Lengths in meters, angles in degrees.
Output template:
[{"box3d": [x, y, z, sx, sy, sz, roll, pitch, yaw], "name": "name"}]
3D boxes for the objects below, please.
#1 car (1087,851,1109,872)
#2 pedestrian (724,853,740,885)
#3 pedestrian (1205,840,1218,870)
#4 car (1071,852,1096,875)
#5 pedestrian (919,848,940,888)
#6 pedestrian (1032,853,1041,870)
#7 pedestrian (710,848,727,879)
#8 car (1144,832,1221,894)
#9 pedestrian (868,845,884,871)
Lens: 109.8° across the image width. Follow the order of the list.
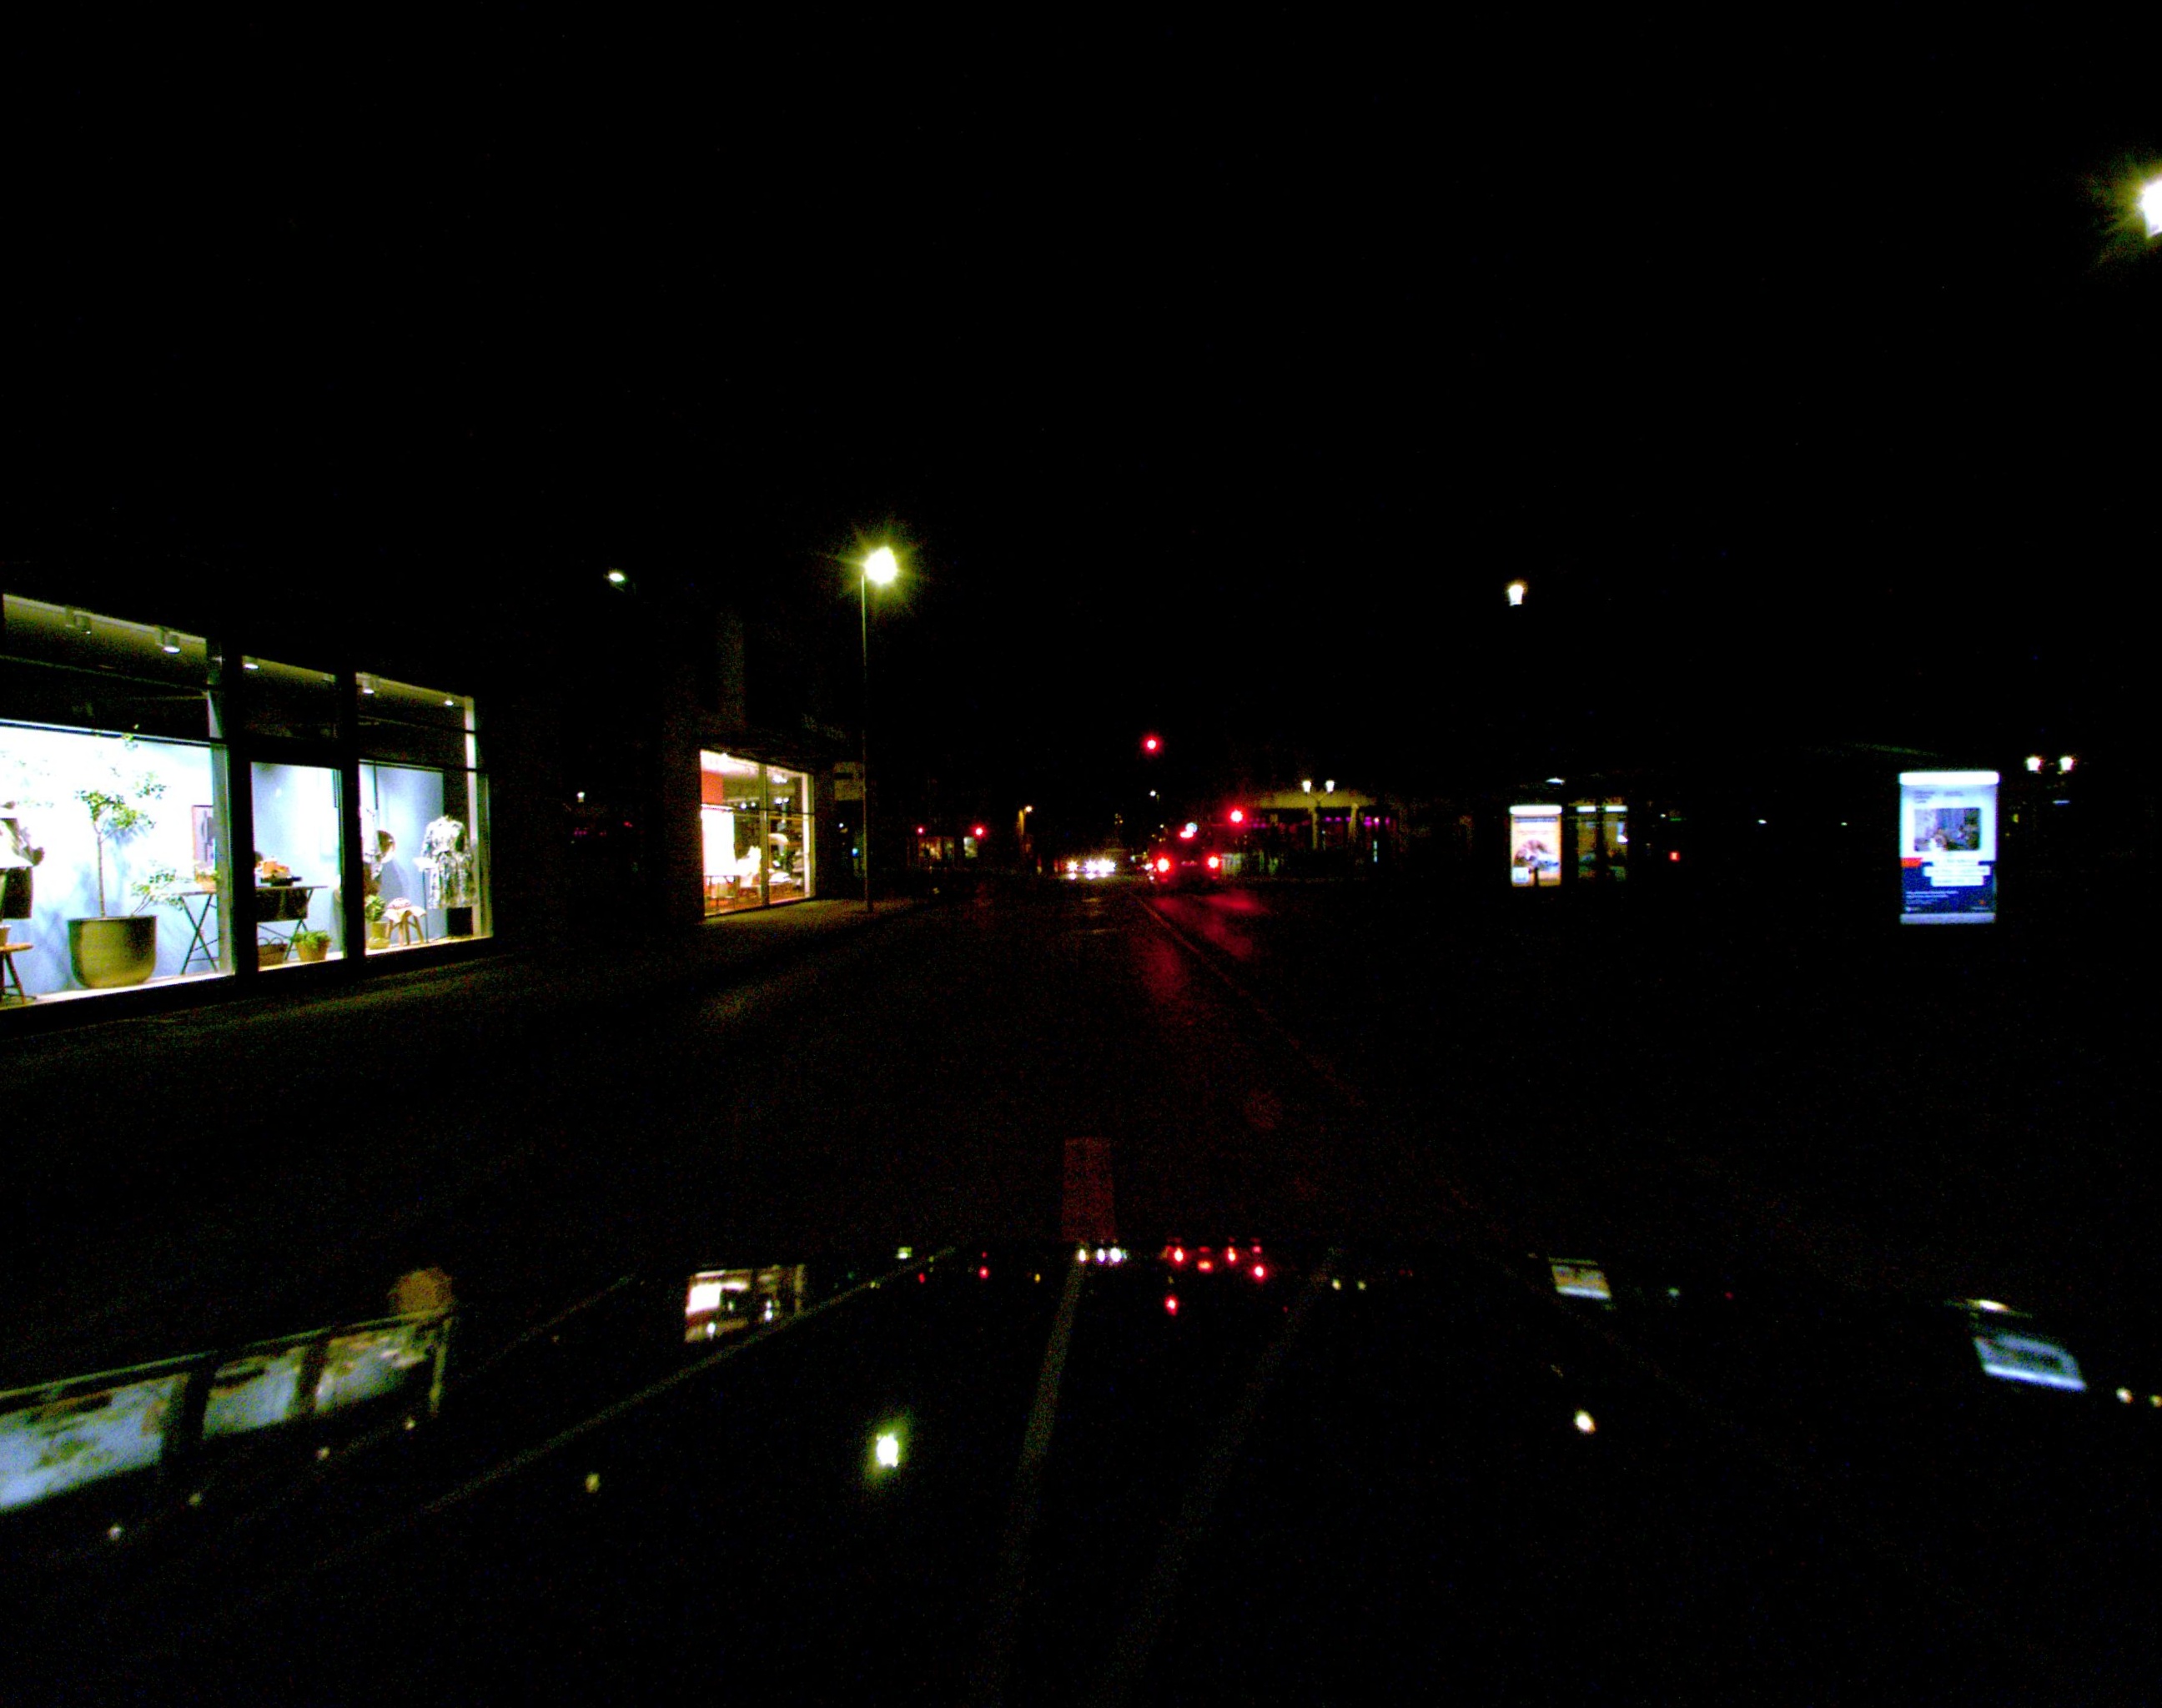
[{"box3d": [1.517, 0.651, 69.926, 1.879, 1.718, 3.999, -2, 1, 1], "name": "car"}, {"box3d": [-19.431, 0.832, 42.307, 0.524, 1.707, 0.567, -2, 1, 7], "name": "pedestrian"}, {"box3d": [7.195, 0.065, 41.989, 0.646, 1.619, 0.583, -2, 1, 11], "name": "pedestrian"}, {"box3d": [0.266, 0.696, 60.145, 1.713, 1.660, 3.738, -2, 1, 3], "name": "car"}, {"box3d": [-6.480, 0.582, 32.524, 0.539, 1.672, 0.648, -2, 1, 23], "name": "pedestrian"}, {"box3d": [-3.935, 0.675, 67.038, 0.647, 1.487, 0.830, 0, 1, 2], "name": "pedestrian"}, {"box3d": [-20.570, 0.522, 43.086, 0.567, 1.707, 0.567, -2, 1, 7], "name": "pedestrian"}, {"box3d": [3.325, 0.247, 25.911, 1.971, 1.861, 4.911, -1, 1, 0], "name": "car"}, {"box3d": [-13.947, 0.253, 51.729, 0.877, 1.723, 0.647, 0, 1, 4], "name": "pedestrian"}]
